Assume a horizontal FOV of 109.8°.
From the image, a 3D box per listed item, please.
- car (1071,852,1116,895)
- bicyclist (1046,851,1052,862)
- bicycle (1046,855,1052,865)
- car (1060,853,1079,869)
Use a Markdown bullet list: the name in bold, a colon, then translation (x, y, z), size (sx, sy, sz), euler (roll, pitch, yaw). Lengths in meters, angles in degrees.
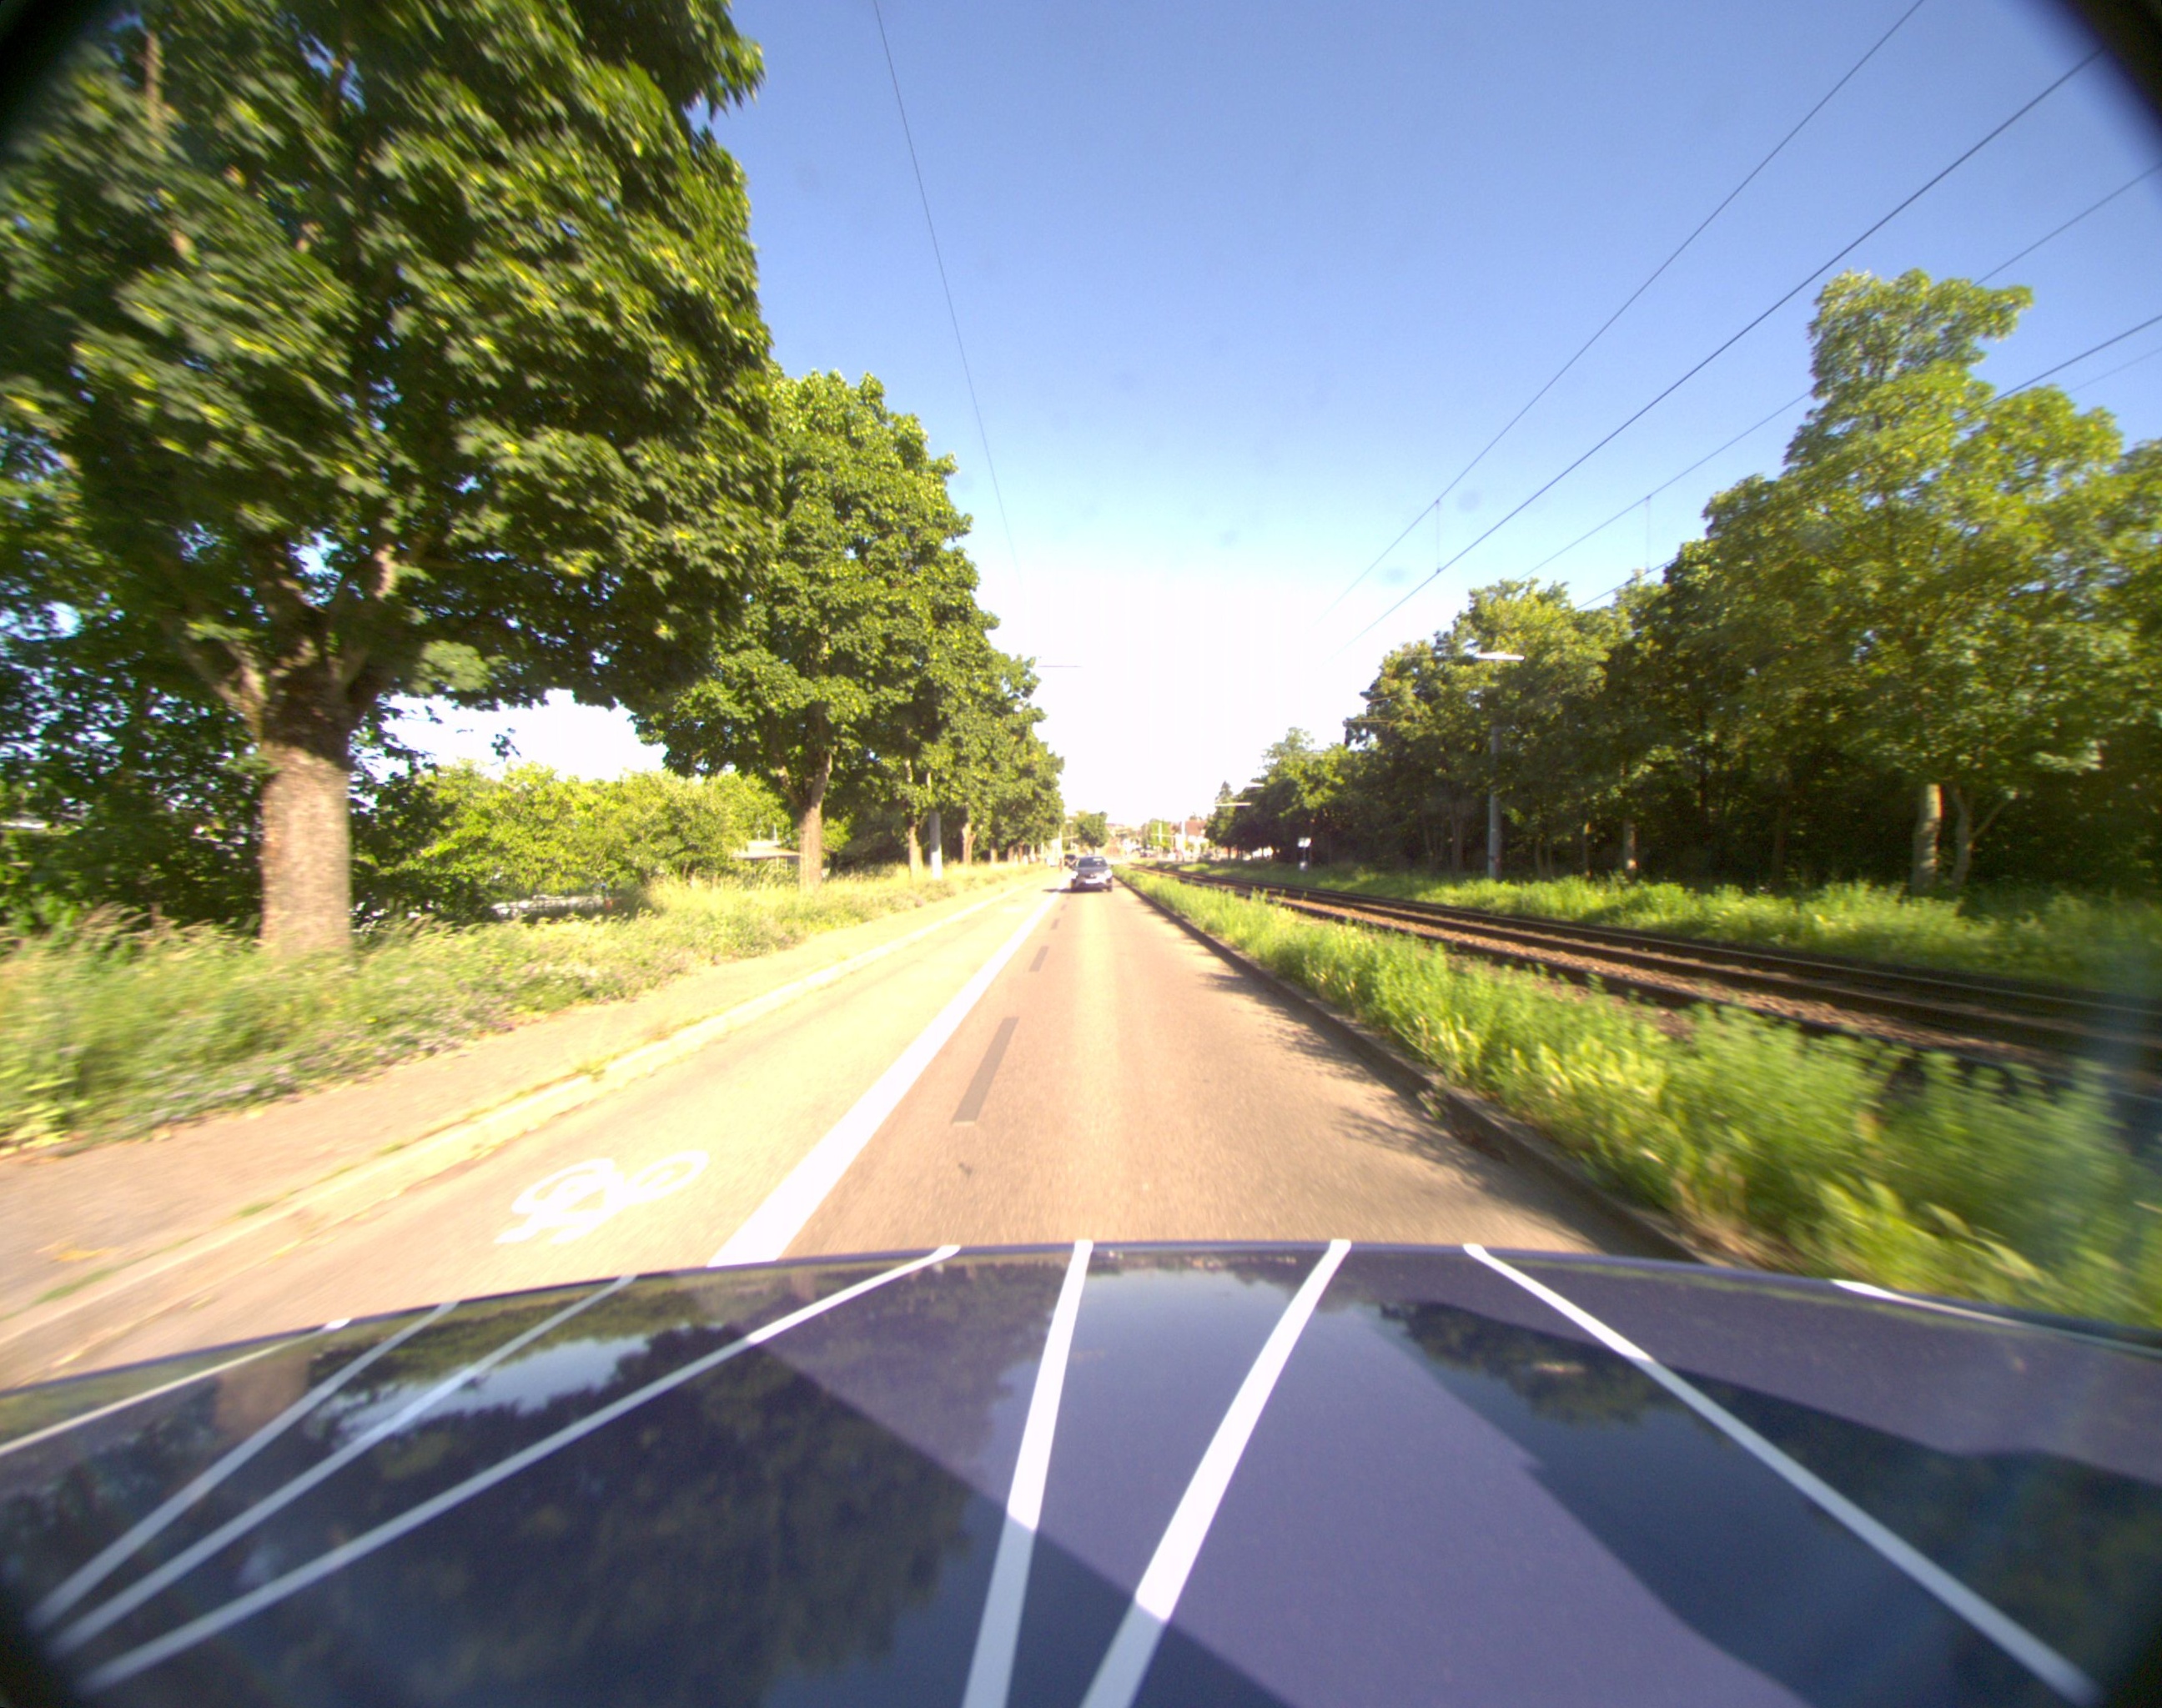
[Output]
- **car**: translation (0.559, 0.788, 33.059), size (1.814, 1.625, 4.709), euler (0, 1, 1)
- **bicyclist**: translation (-4.507, 0.370, 106.577), size (0.655, 1.575, 0.698), euler (-2, 1, 1)
- **bicycle**: translation (-4.483, 0.808, 106.497), size (0.647, 1.344, 2.240), euler (-2, 1, 1)
- **car**: translation (-1.252, 0.729, 82.927), size (1.814, 1.625, 4.128), euler (-2, 1, 1)
